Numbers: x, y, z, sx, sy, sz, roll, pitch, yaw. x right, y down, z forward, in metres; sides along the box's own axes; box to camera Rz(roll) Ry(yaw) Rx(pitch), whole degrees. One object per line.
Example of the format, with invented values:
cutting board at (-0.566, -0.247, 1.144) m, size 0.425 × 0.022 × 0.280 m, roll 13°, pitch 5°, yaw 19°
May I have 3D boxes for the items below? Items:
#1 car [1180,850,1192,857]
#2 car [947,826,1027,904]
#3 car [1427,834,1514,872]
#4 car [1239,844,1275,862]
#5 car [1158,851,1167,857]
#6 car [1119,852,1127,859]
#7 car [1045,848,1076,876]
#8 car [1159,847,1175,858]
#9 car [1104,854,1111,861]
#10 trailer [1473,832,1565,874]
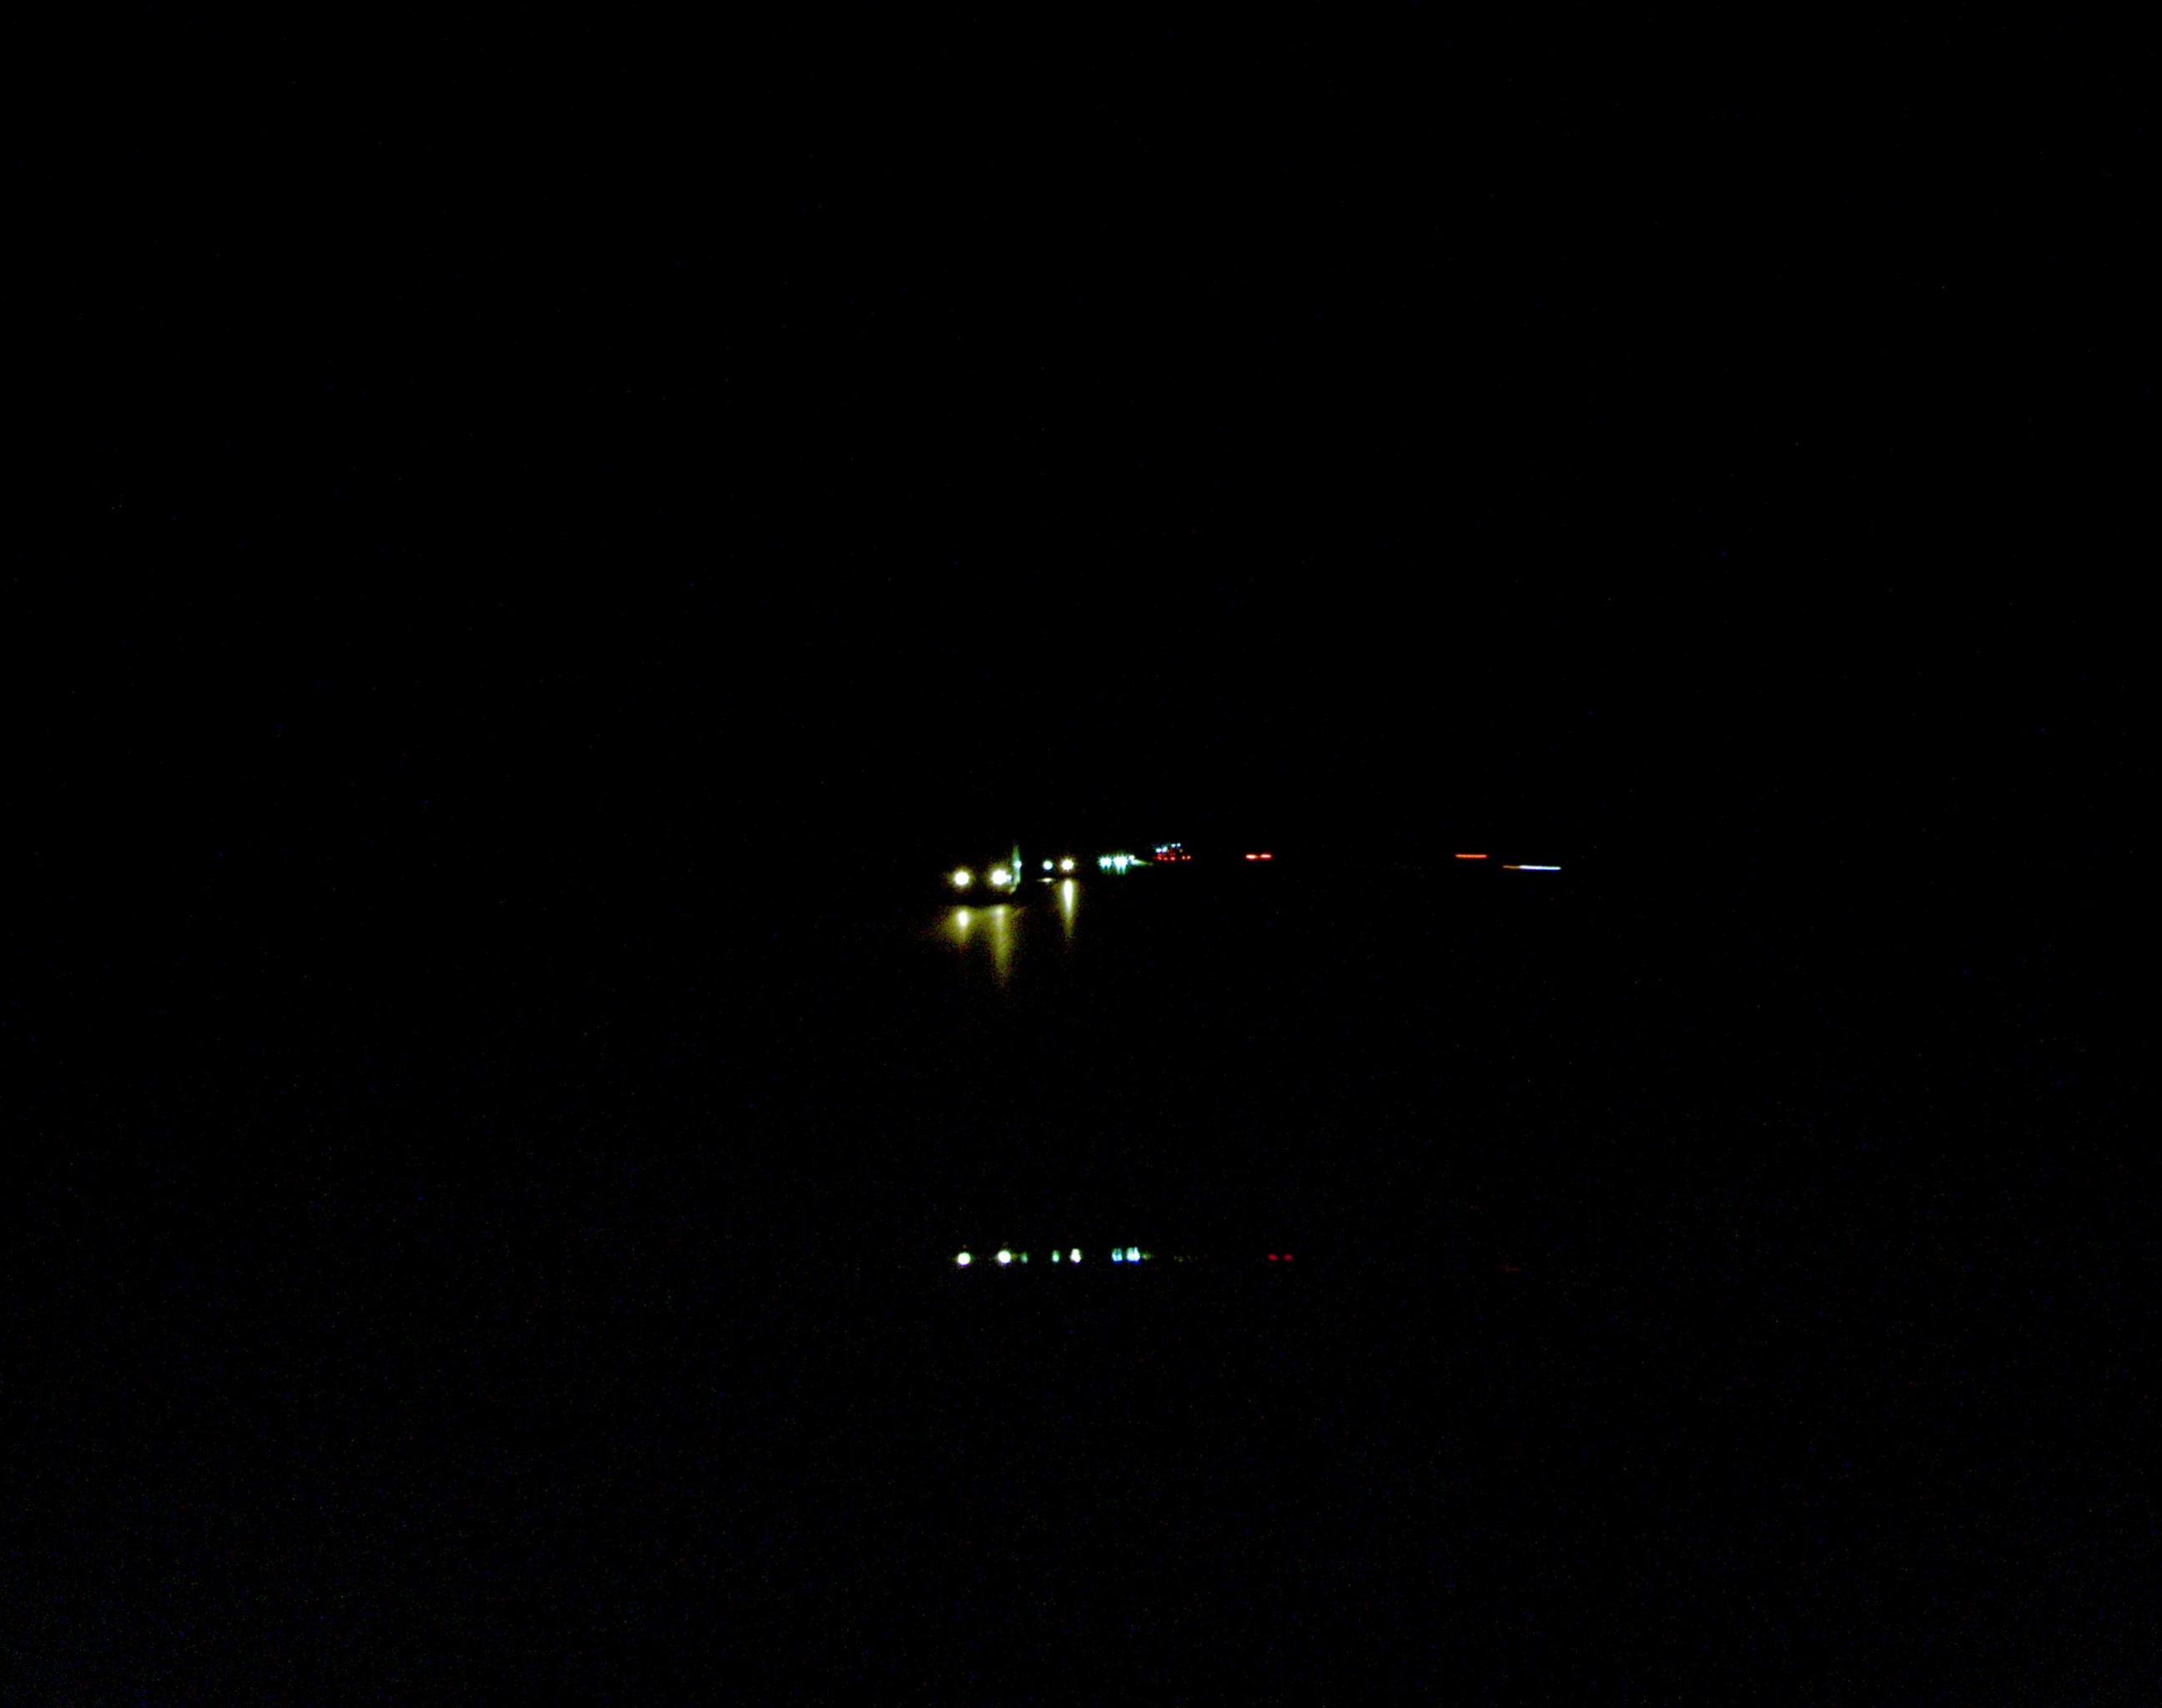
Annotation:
car at (25.663, -0.087, 185.936) m, size 2.249 × 1.658 × 4.888 m, roll -2°, pitch 0°, yaw 1°
car at (-3.492, 0.374, 29.401) m, size 2.037 × 2.631 × 5.725 m, roll -2°, pitch 0°, yaw 2°
car at (19.588, -0.067, 38.462) m, size 1.918 × 1.736 × 4.881 m, roll -2°, pitch 0°, yaw 1°
car at (16.837, -0.069, 72.879) m, size 2.250 × 1.588 × 4.887 m, roll -2°, pitch 0°, yaw 0°
car at (25.659, -0.060, 240.007) m, size 2.249 × 1.658 × 4.890 m, roll -2°, pitch 0°, yaw 1°
car at (11.646, 0.329, 211.919) m, size 1.998 × 1.734 × 3.999 m, roll -2°, pitch 2°, yaw 2°
car at (-1.541, 0.594, 60.400) m, size 2.120 × 1.989 × 5.664 m, roll -2°, pitch 0°, yaw 1°
car at (14.546, -0.192, 128.300) m, size 2.249 × 1.709 × 4.888 m, roll -2°, pitch 0°, yaw 1°
car at (7.065, 0.936, 202.571) m, size 1.998 × 1.762 × 3.999 m, roll -2°, pitch 2°, yaw 2°
trailer at (19.522, -0.051, 34.065) m, size 1.901 × 1.736 × 3.844 m, roll -2°, pitch 0°, yaw 1°
